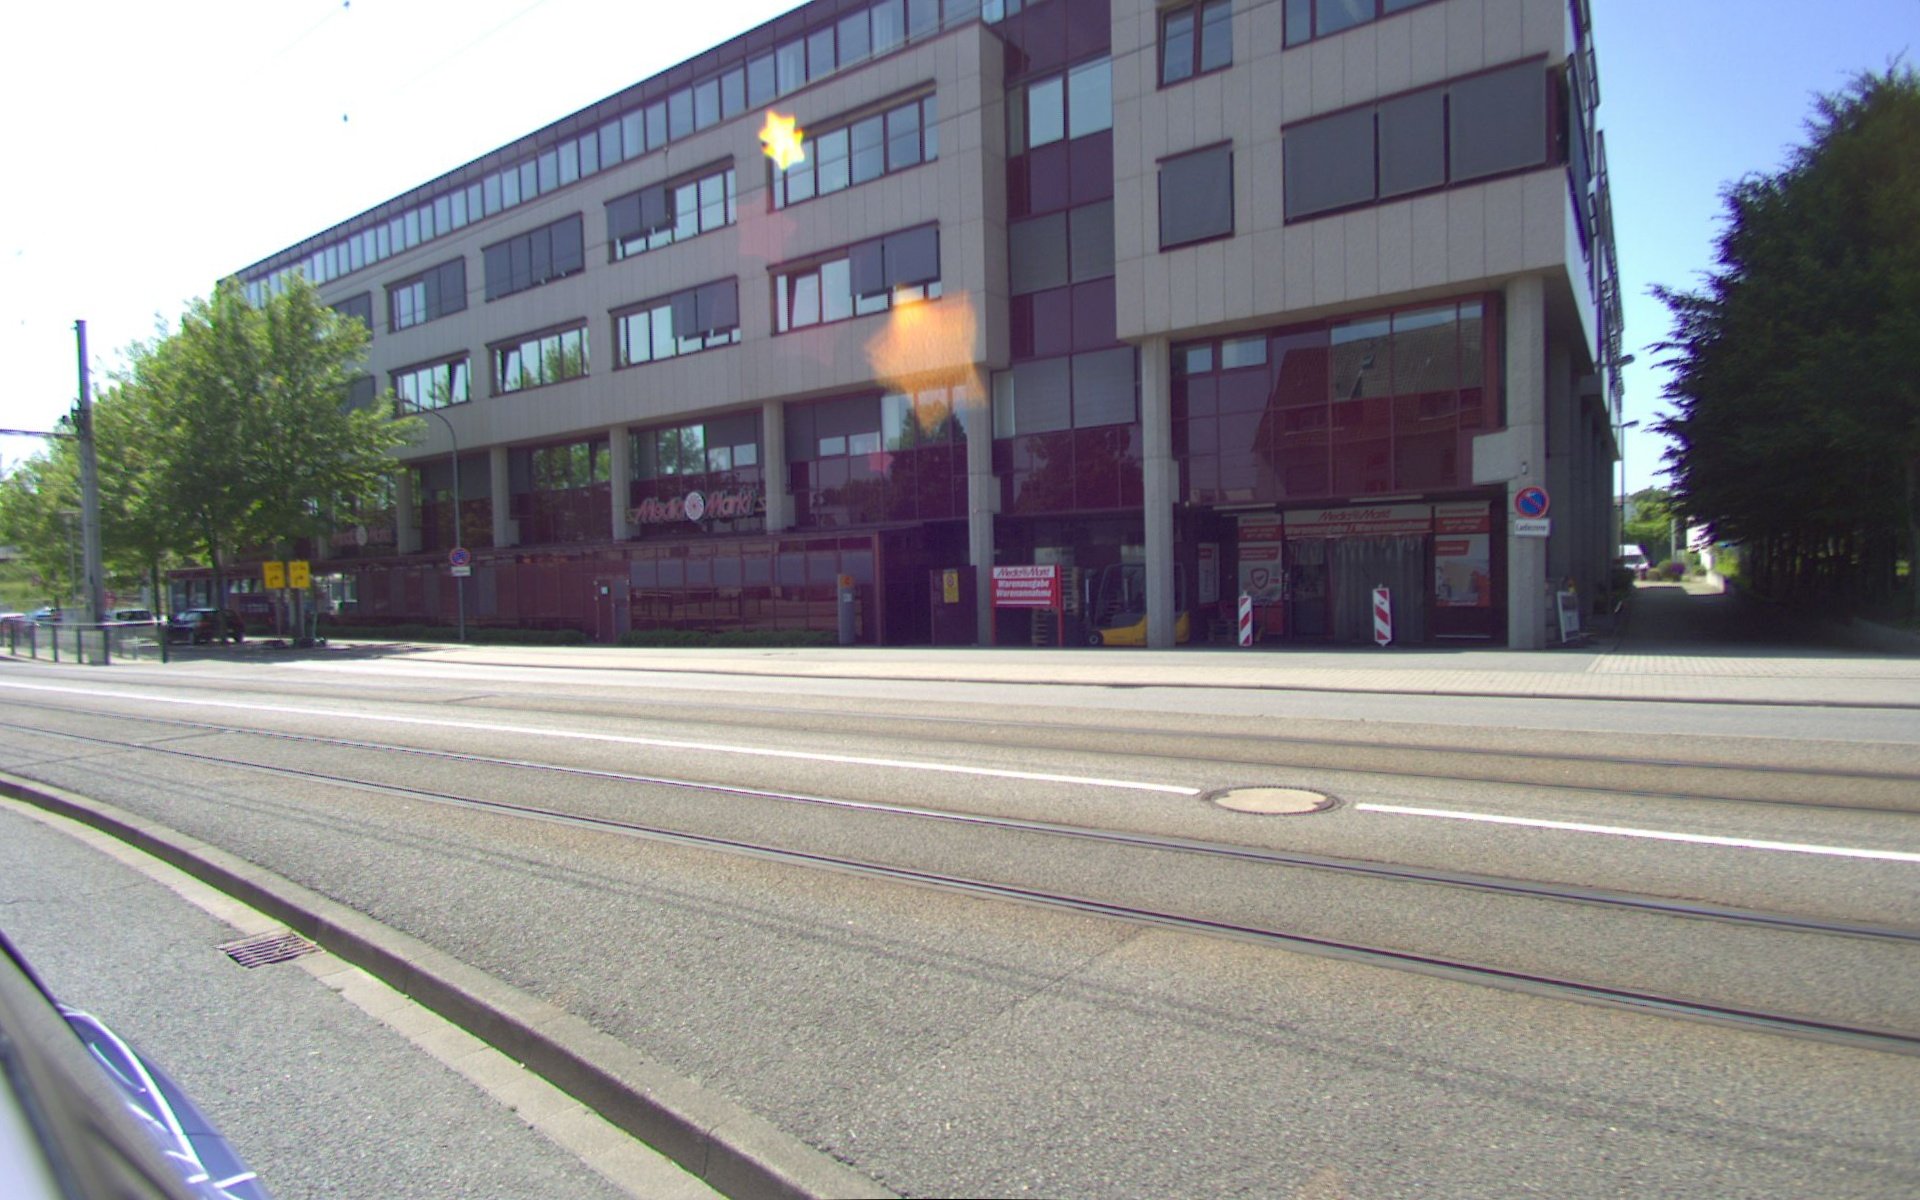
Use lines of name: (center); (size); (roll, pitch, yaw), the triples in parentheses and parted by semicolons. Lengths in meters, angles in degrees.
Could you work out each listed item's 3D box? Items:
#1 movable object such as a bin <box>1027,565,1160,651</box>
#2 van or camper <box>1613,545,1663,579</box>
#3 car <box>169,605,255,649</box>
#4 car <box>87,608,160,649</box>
movable object such as a bin: (3.427, 0.214, 25.711); (3.149, 2.029, 1.739); (-2, 0, 14)
van or camper: (51.659, -2.870, 77.232); (1.983, 2.427, 4.232); (-2, 0, 18)
car: (-30.283, 1.064, 40.955); (3.998, 1.635, 1.973); (-2, 0, 41)
car: (-36.873, 1.244, 44.572); (3.998, 1.630, 1.847); (-2, 0, 41)
